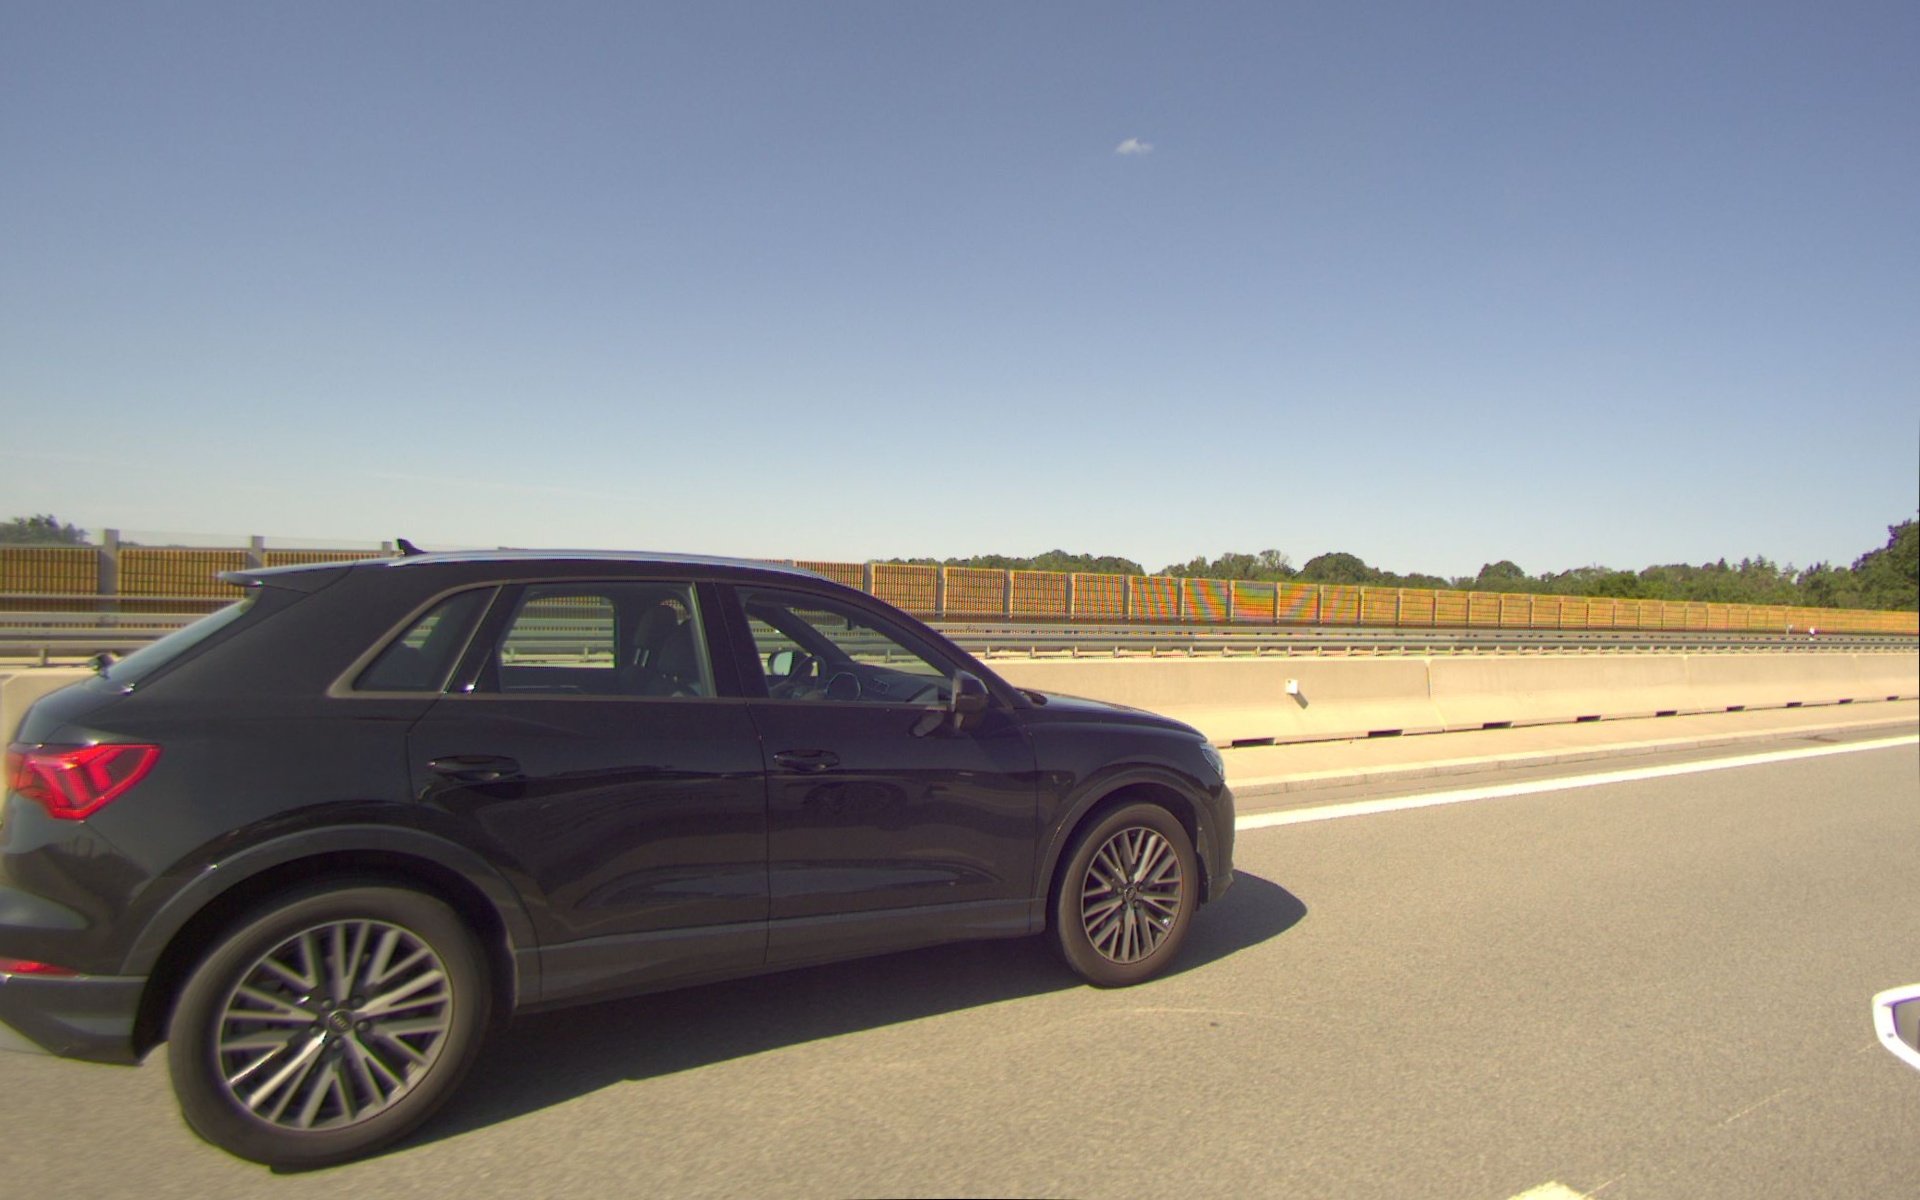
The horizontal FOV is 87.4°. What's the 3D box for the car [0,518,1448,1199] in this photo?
[{"bbox_3d":[-0.367,0.682,4.158,5.161,1.609,1.713,2,0,-30],"label":"car"}]
